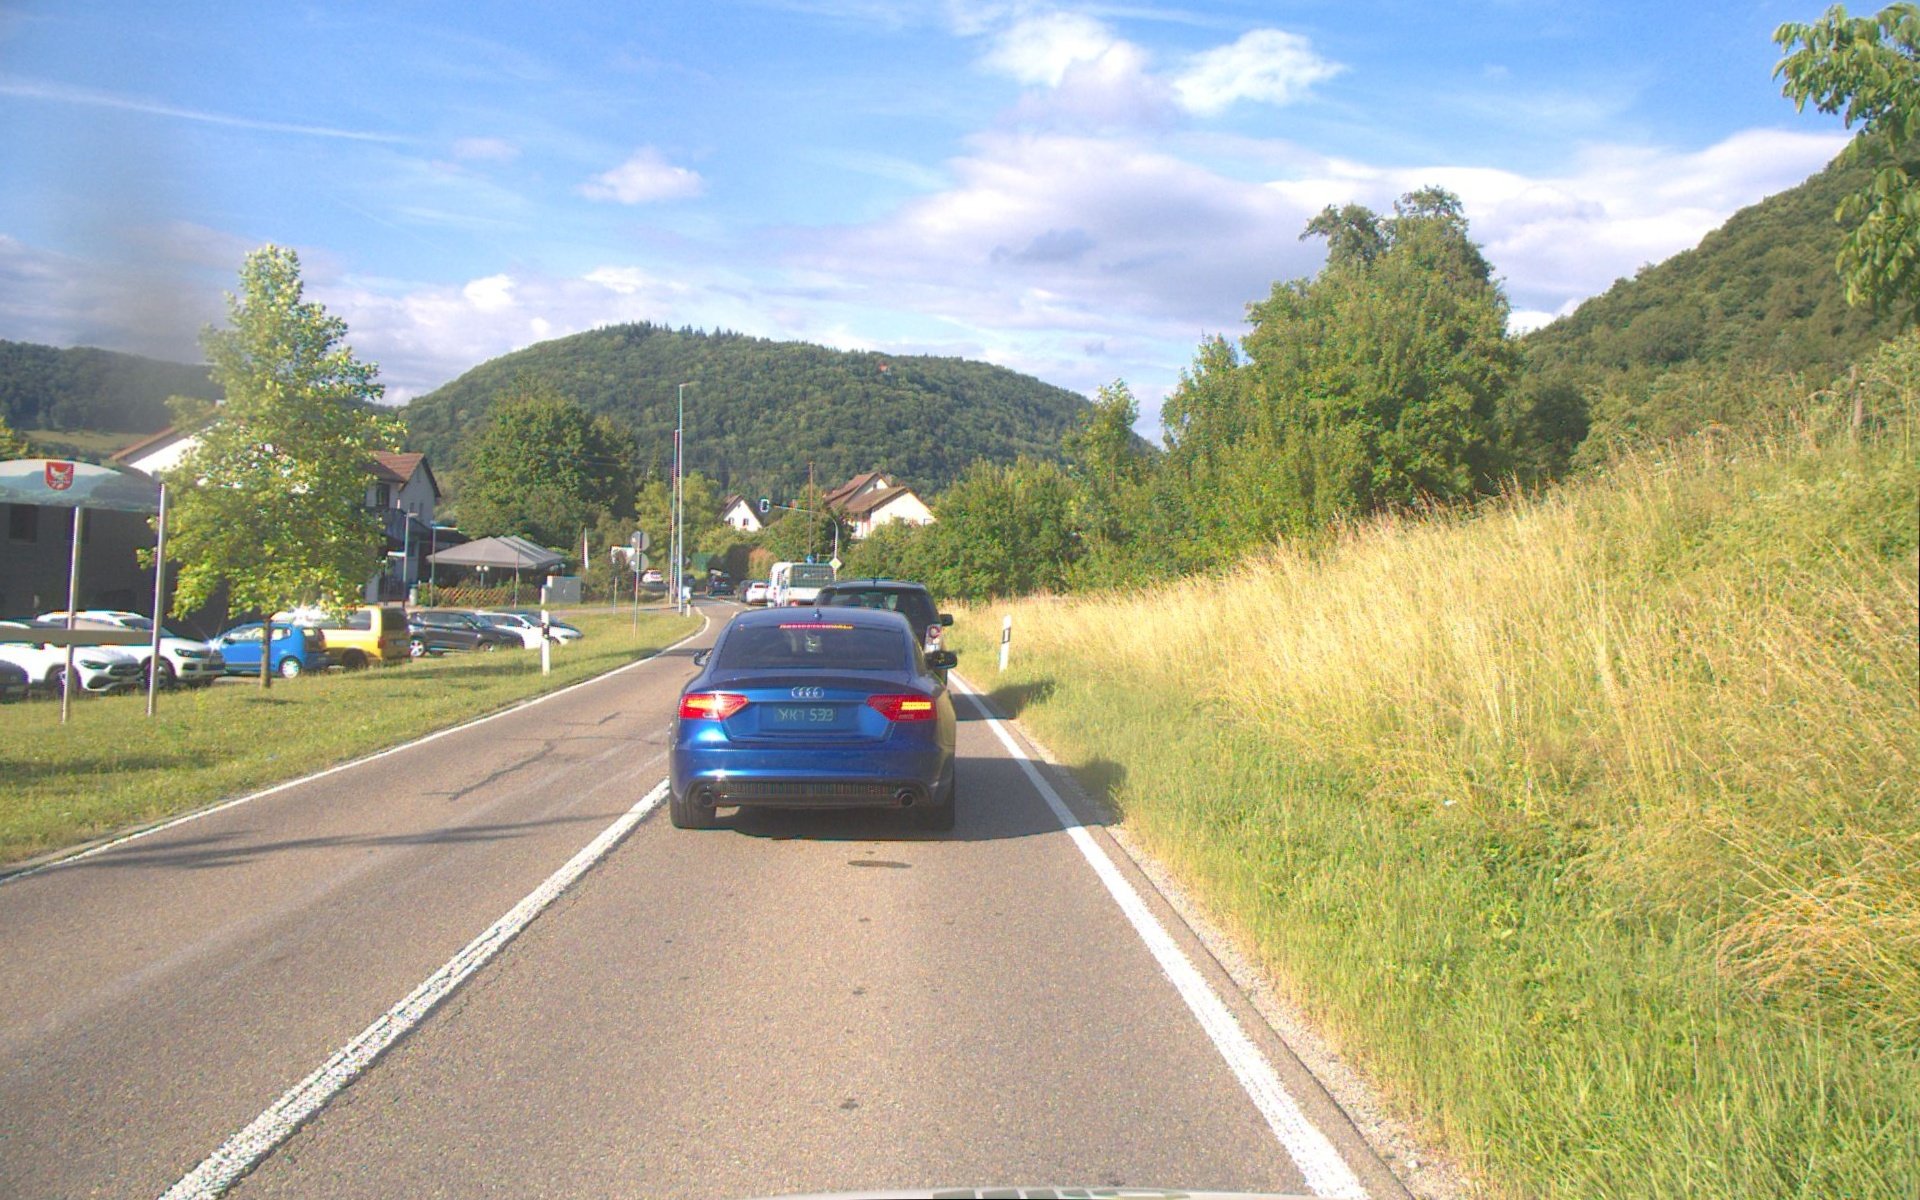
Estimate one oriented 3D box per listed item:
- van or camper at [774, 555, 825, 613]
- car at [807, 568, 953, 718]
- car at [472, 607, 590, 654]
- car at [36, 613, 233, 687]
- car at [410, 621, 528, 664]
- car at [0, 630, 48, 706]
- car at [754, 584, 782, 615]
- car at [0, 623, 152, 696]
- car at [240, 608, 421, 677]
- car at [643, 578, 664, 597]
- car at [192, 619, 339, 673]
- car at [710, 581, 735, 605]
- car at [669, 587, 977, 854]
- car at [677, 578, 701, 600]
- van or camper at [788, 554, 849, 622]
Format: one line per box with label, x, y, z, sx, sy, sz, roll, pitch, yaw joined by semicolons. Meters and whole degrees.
van or camper;-8.016;-0.756;82.297;2.238;2.761;5.756;0;0;-8
car;-1.008;0.484;20.534;1.613;1.653;3.514;2;0;-3
car;-16.099;1.145;62.168;3.949;1.689;1.657;0;0;9
car;-19.568;1.181;39.281;3.990;1.702;1.598;0;0;9
car;-17.108;1.472;57.636;3.633;1.465;1.510;0;0;9
car;-20.256;1.345;32.820;3.547;1.429;1.598;0;0;9
car;-12.220;-0.039;105.059;1.629;1.958;3.992;0;0;-9
car;-19.732;1.275;35.977;3.588;1.520;1.598;0;0;9
car;-18.056;1.191;47.539;4.458;1.846;1.842;1;0;3
car;-32.111;-1.304;173.463;1.651;1.958;3.979;0;0;-18
car;-18.974;1.254;45.277;3.299;1.397;1.660;0;0;1
car;-19.861;-0.596;138.116;1.649;1.958;3.984;0;0;-15
car;-0.834;0.686;11.191;1.707;1.476;3.515;2;0;-2
car;-25.530;-1.035;155.866;1.651;1.958;3.980;0;0;-18
van or camper;-5.595;-0.431;64.817;2.014;2.549;5.800;0;0;-8
